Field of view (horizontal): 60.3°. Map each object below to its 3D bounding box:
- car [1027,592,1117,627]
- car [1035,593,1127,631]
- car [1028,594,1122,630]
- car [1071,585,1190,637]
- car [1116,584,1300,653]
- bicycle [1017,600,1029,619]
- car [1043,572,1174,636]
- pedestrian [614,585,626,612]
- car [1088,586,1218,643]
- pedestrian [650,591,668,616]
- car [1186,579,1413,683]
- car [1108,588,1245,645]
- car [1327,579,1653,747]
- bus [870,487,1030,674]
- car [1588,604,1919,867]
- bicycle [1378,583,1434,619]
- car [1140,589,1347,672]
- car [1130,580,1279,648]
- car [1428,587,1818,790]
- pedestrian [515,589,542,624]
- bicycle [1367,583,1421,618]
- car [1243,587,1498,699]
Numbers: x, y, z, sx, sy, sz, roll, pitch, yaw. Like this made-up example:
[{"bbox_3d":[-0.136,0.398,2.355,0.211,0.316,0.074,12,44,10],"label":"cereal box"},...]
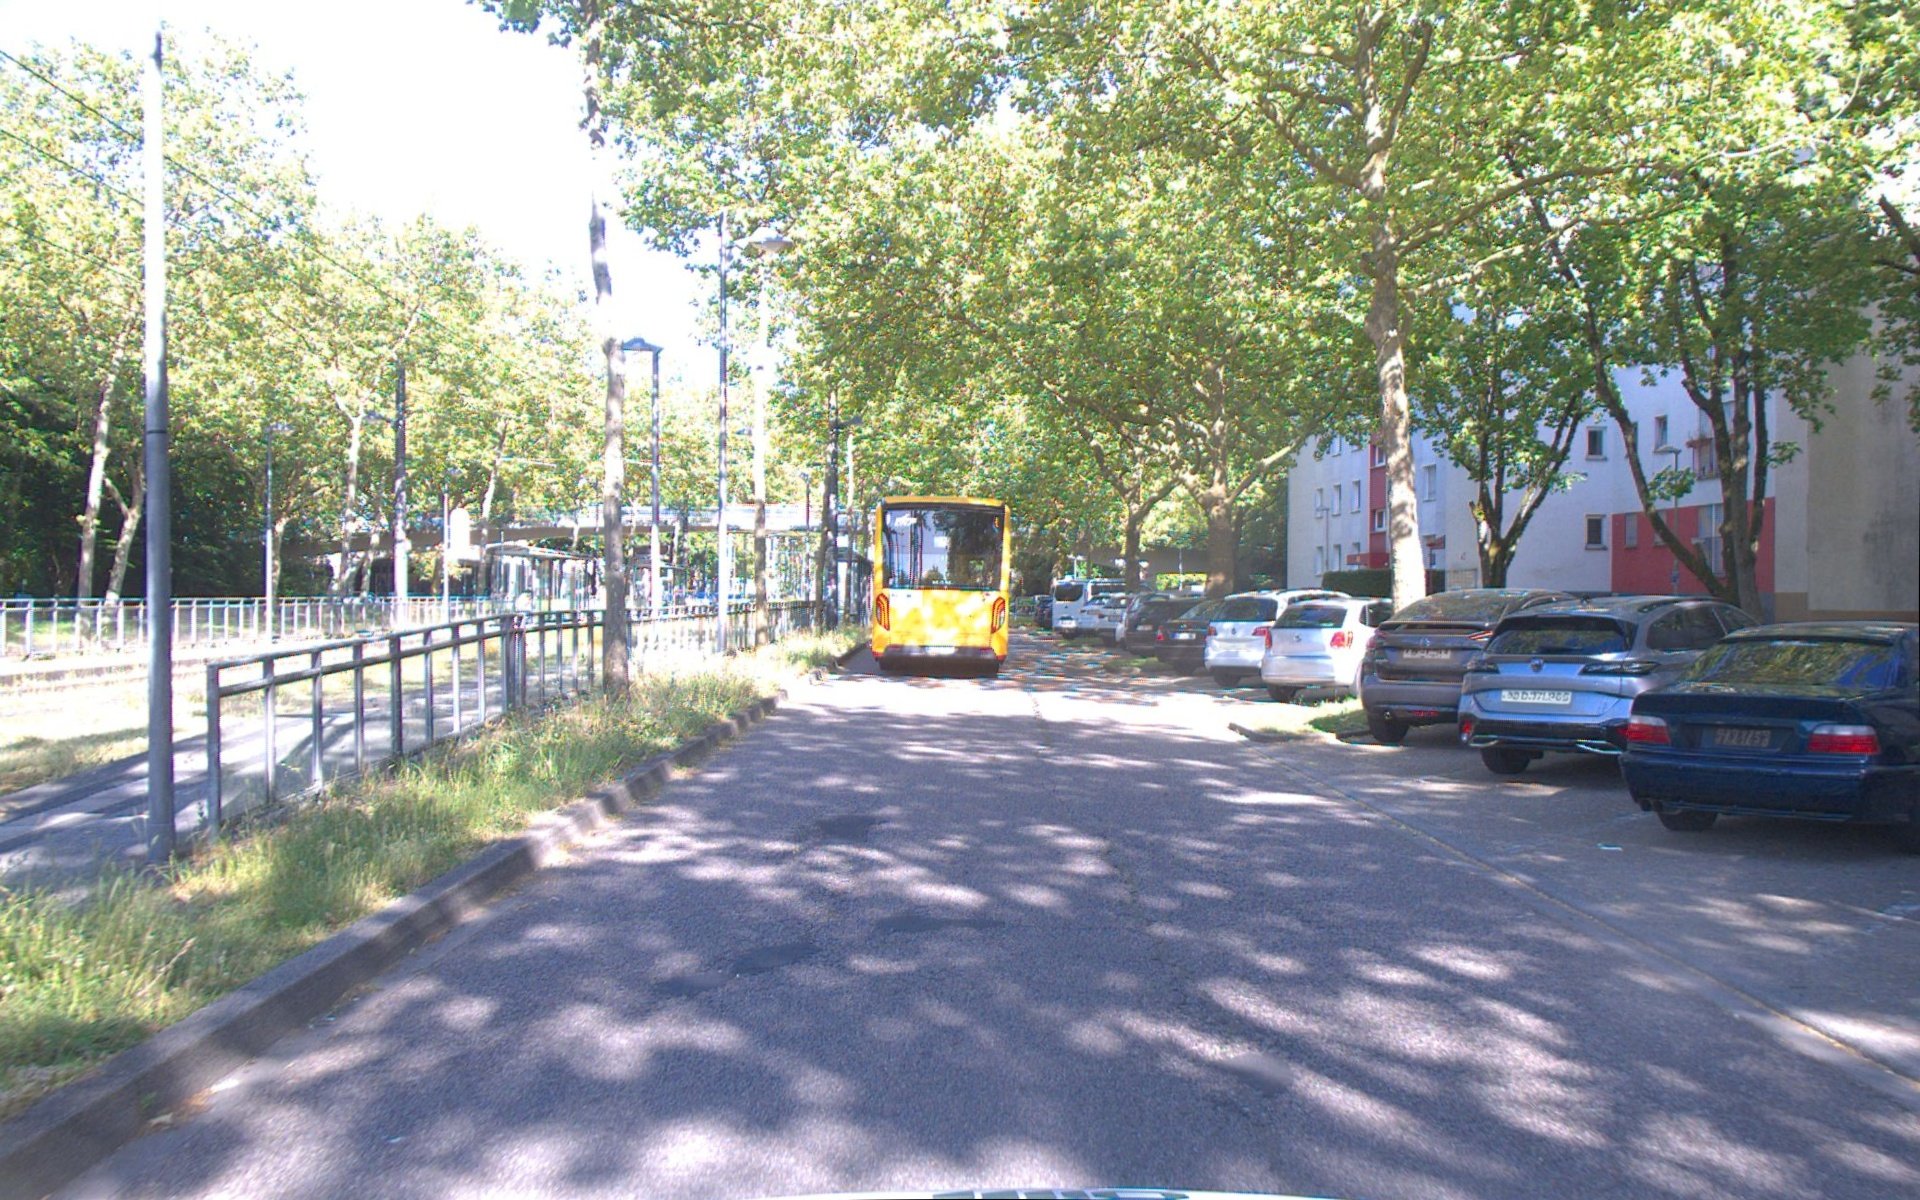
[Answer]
[{"bbox_3d":[5.300,0.421,77.899,4.219,1.487,1.773,-2,0,-41],"label":"car"},{"bbox_3d":[5.254,0.519,71.648,3.969,1.493,1.754,-2,0,-44],"label":"car"},{"bbox_3d":[5.222,0.535,74.593,4.219,1.487,1.773,-2,0,-41],"label":"car"},{"bbox_3d":[5.751,0.350,55.468,4.027,1.608,1.803,-2,0,-44],"label":"car"},{"bbox_3d":[5.927,0.421,39.283,4.369,1.453,1.923,-2,0,-40],"label":"car"},{"bbox_3d":[4.061,0.610,106.982,0.578,1.203,1.800,-3,1,-1],"label":"bicycle"},{"bbox_3d":[5.288,0.124,58.594,4.550,2.088,1.987,-2,0,-41],"label":"car"},{"bbox_3d":[-21.118,-0.078,102.605,0.635,1.690,0.649,0,0,-5],"label":"pedestrian"},{"bbox_3d":[5.778,0.412,49.207,1.768,1.536,4.188,-2,0,41],"label":"car"},{"bbox_3d":[-15.305,0.173,84.103,0.762,1.259,0.722,1,0,-2],"label":"pedestrian"},{"bbox_3d":[5.825,0.476,28.151,3.965,1.603,1.773,-1,0,-42],"label":"car"},{"bbox_3d":[6.080,0.443,46.185,1.801,1.444,3.973,-2,0,44],"label":"car"},{"bbox_3d":[5.740,0.581,17.625,1.768,1.536,4.152,-1,0,42],"label":"car"},{"bbox_3d":[-0.335,-0.349,35.804,2.841,3.324,12.213,1,0,-2],"label":"bus"},{"bbox_3d":[6.015,0.734,10.955,4.111,1.341,1.773,-1,0,-42],"label":"car"},{"bbox_3d":[15.540,0.035,57.636,1.760,1.149,0.499,-3,0,-6],"label":"bicycle"},{"bbox_3d":[5.631,0.555,32.489,1.769,1.447,4.559,-1,0,44],"label":"car"},{"bbox_3d":[6.401,0.341,43.045,3.969,1.617,1.771,-2,0,-44],"label":"car"},{"bbox_3d":[5.834,0.657,14.346,3.860,1.471,1.770,-1,0,-45],"label":"car"},{"bbox_3d":[-15.334,0.229,58.765,0.750,1.204,0.763,1,0,0],"label":"pedestrian"},{"bbox_3d":[15.400,0.030,58.732,1.760,1.149,0.499,-3,0,-6],"label":"bicycle"},{"bbox_3d":[6.123,0.577,24.457,3.966,1.469,1.772,-1,0,-42],"label":"car"}]
